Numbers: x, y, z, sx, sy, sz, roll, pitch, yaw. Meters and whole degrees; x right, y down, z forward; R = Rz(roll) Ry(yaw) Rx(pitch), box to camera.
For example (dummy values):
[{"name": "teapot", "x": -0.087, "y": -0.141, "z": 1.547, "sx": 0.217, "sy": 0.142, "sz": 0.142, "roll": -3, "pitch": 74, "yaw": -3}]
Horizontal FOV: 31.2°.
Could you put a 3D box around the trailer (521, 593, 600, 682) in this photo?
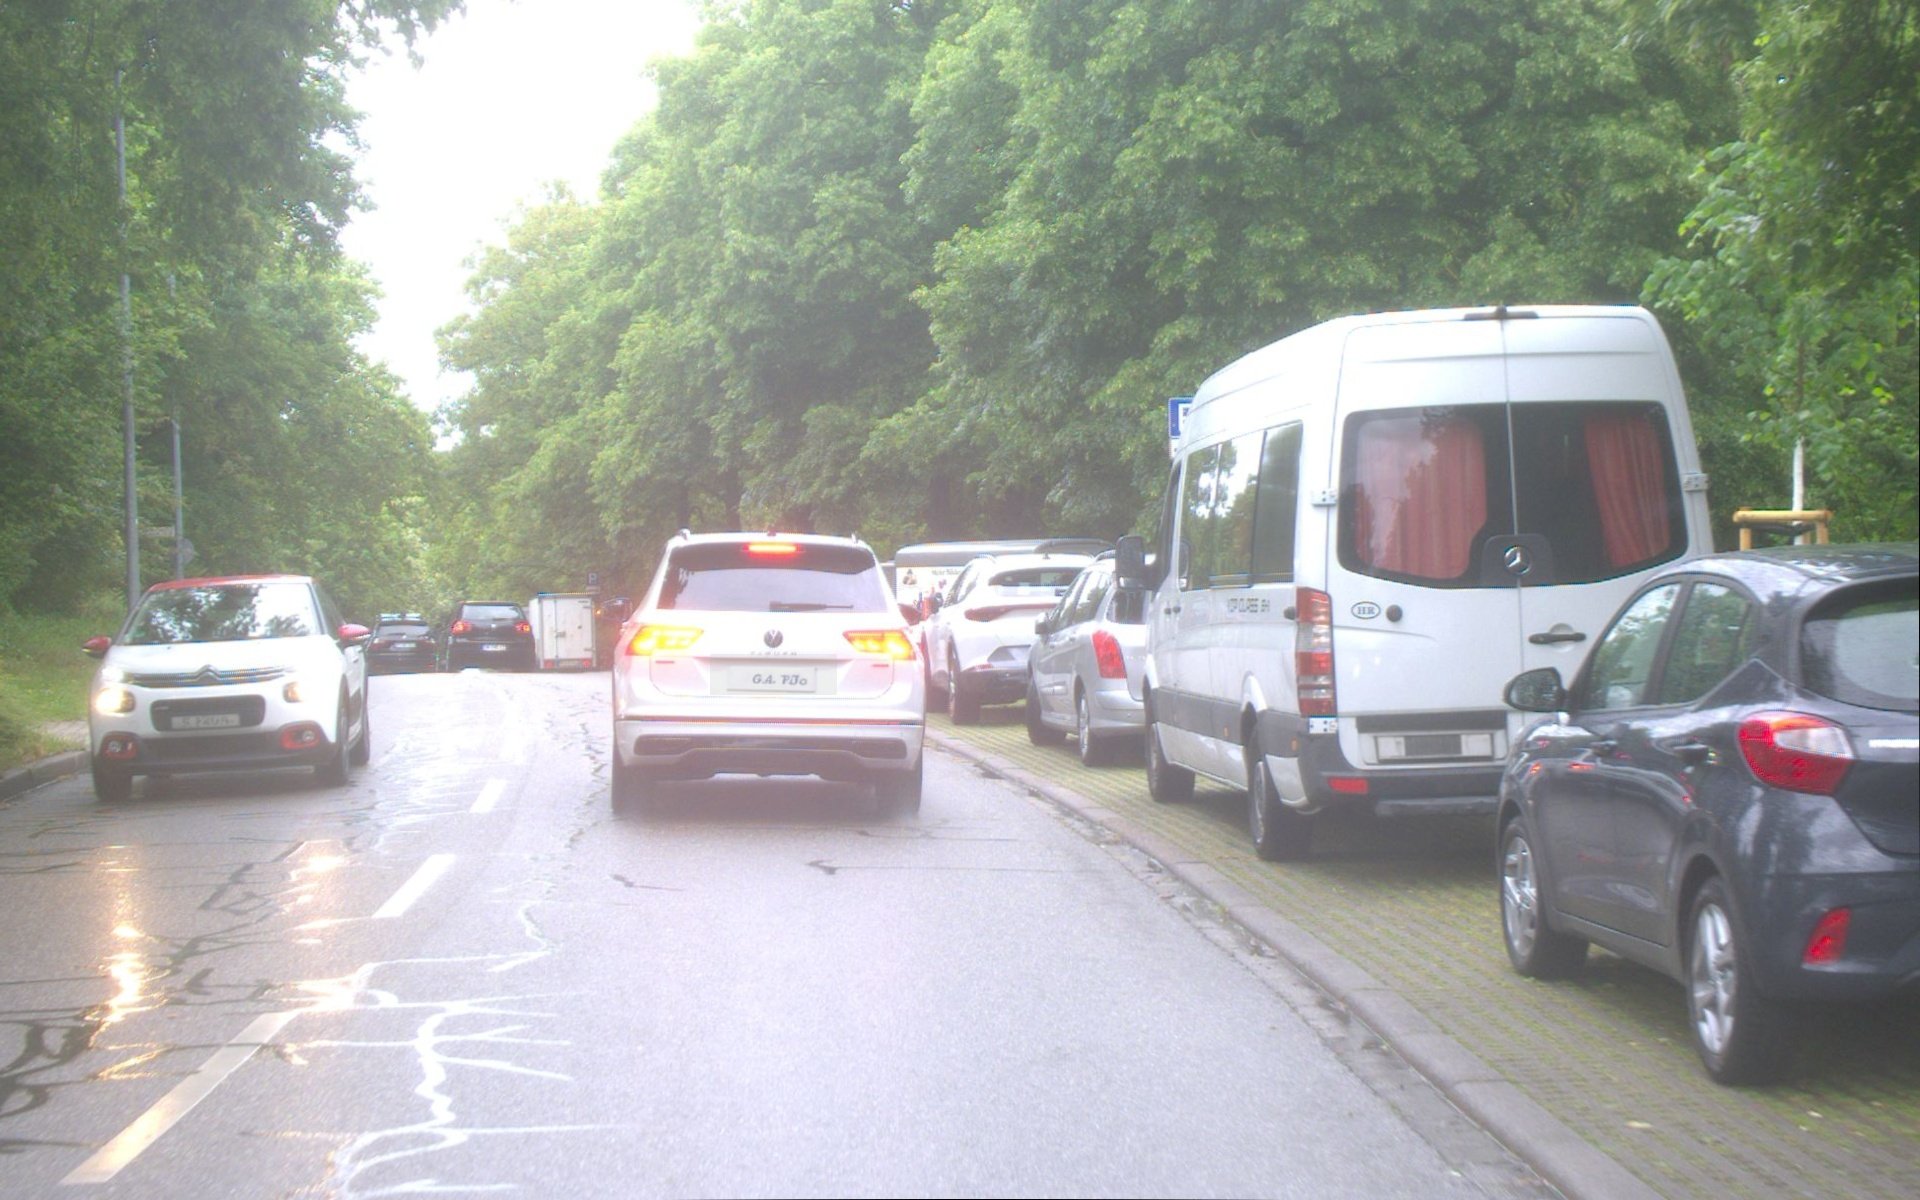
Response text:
[{"name": "trailer", "x": -10.003, "y": 0.951, "z": 85.874, "sx": 1.529, "sy": 2.069, "sz": 4.000, "roll": -2, "pitch": -2, "yaw": -12}]

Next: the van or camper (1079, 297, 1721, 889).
[{"name": "van or camper", "x": 2.090, "y": -0.142, "z": 19.368, "sx": 2.015, "sy": 2.574, "sz": 8.437, "roll": 1, "pitch": 2, "yaw": -3}]

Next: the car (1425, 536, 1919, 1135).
[{"name": "car", "x": 2.724, "y": 0.580, "z": 10.841, "sx": 1.865, "sy": 1.506, "sz": 3.725, "roll": -1, "pitch": 1, "yaw": -2}]

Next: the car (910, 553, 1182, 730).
[{"name": "car", "x": 0.726, "y": 0.329, "z": 32.366, "sx": 1.993, "sy": 1.492, "sz": 4.567, "roll": -1, "pitch": 1, "yaw": -5}]

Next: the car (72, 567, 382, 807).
[{"name": "car", "x": -5.142, "y": 0.556, "z": 24.529, "sx": 1.665, "sy": 1.472, "sz": 3.733, "roll": -3, "pitch": 1, "yaw": -5}]

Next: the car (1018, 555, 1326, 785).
[{"name": "car", "x": 1.512, "y": 0.457, "z": 26.074, "sx": 1.805, "sy": 1.533, "sz": 4.268, "roll": -2, "pitch": 1, "yaw": -3}]

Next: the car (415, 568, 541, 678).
[{"name": "car", "x": -9.702, "y": 0.429, "z": 69.038, "sx": 1.993, "sy": 2.006, "sz": 4.002, "roll": -1, "pitch": 2, "yaw": -15}]

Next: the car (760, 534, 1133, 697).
[{"name": "car", "x": -0.185, "y": 0.150, "z": 37.498, "sx": 4.004, "sy": 1.675, "sz": 1.608, "roll": 0, "pitch": 1, "yaw": 42}]

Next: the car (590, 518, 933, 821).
[{"name": "car", "x": -1.180, "y": 0.387, "z": 21.260, "sx": 1.905, "sy": 1.679, "sz": 4.201, "roll": 0, "pitch": 0, "yaw": -2}]

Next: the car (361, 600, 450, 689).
[{"name": "car", "x": -13.897, "y": 1.084, "z": 86.097, "sx": 1.993, "sy": 2.006, "sz": 4.002, "roll": -1, "pitch": 2, "yaw": -12}]
